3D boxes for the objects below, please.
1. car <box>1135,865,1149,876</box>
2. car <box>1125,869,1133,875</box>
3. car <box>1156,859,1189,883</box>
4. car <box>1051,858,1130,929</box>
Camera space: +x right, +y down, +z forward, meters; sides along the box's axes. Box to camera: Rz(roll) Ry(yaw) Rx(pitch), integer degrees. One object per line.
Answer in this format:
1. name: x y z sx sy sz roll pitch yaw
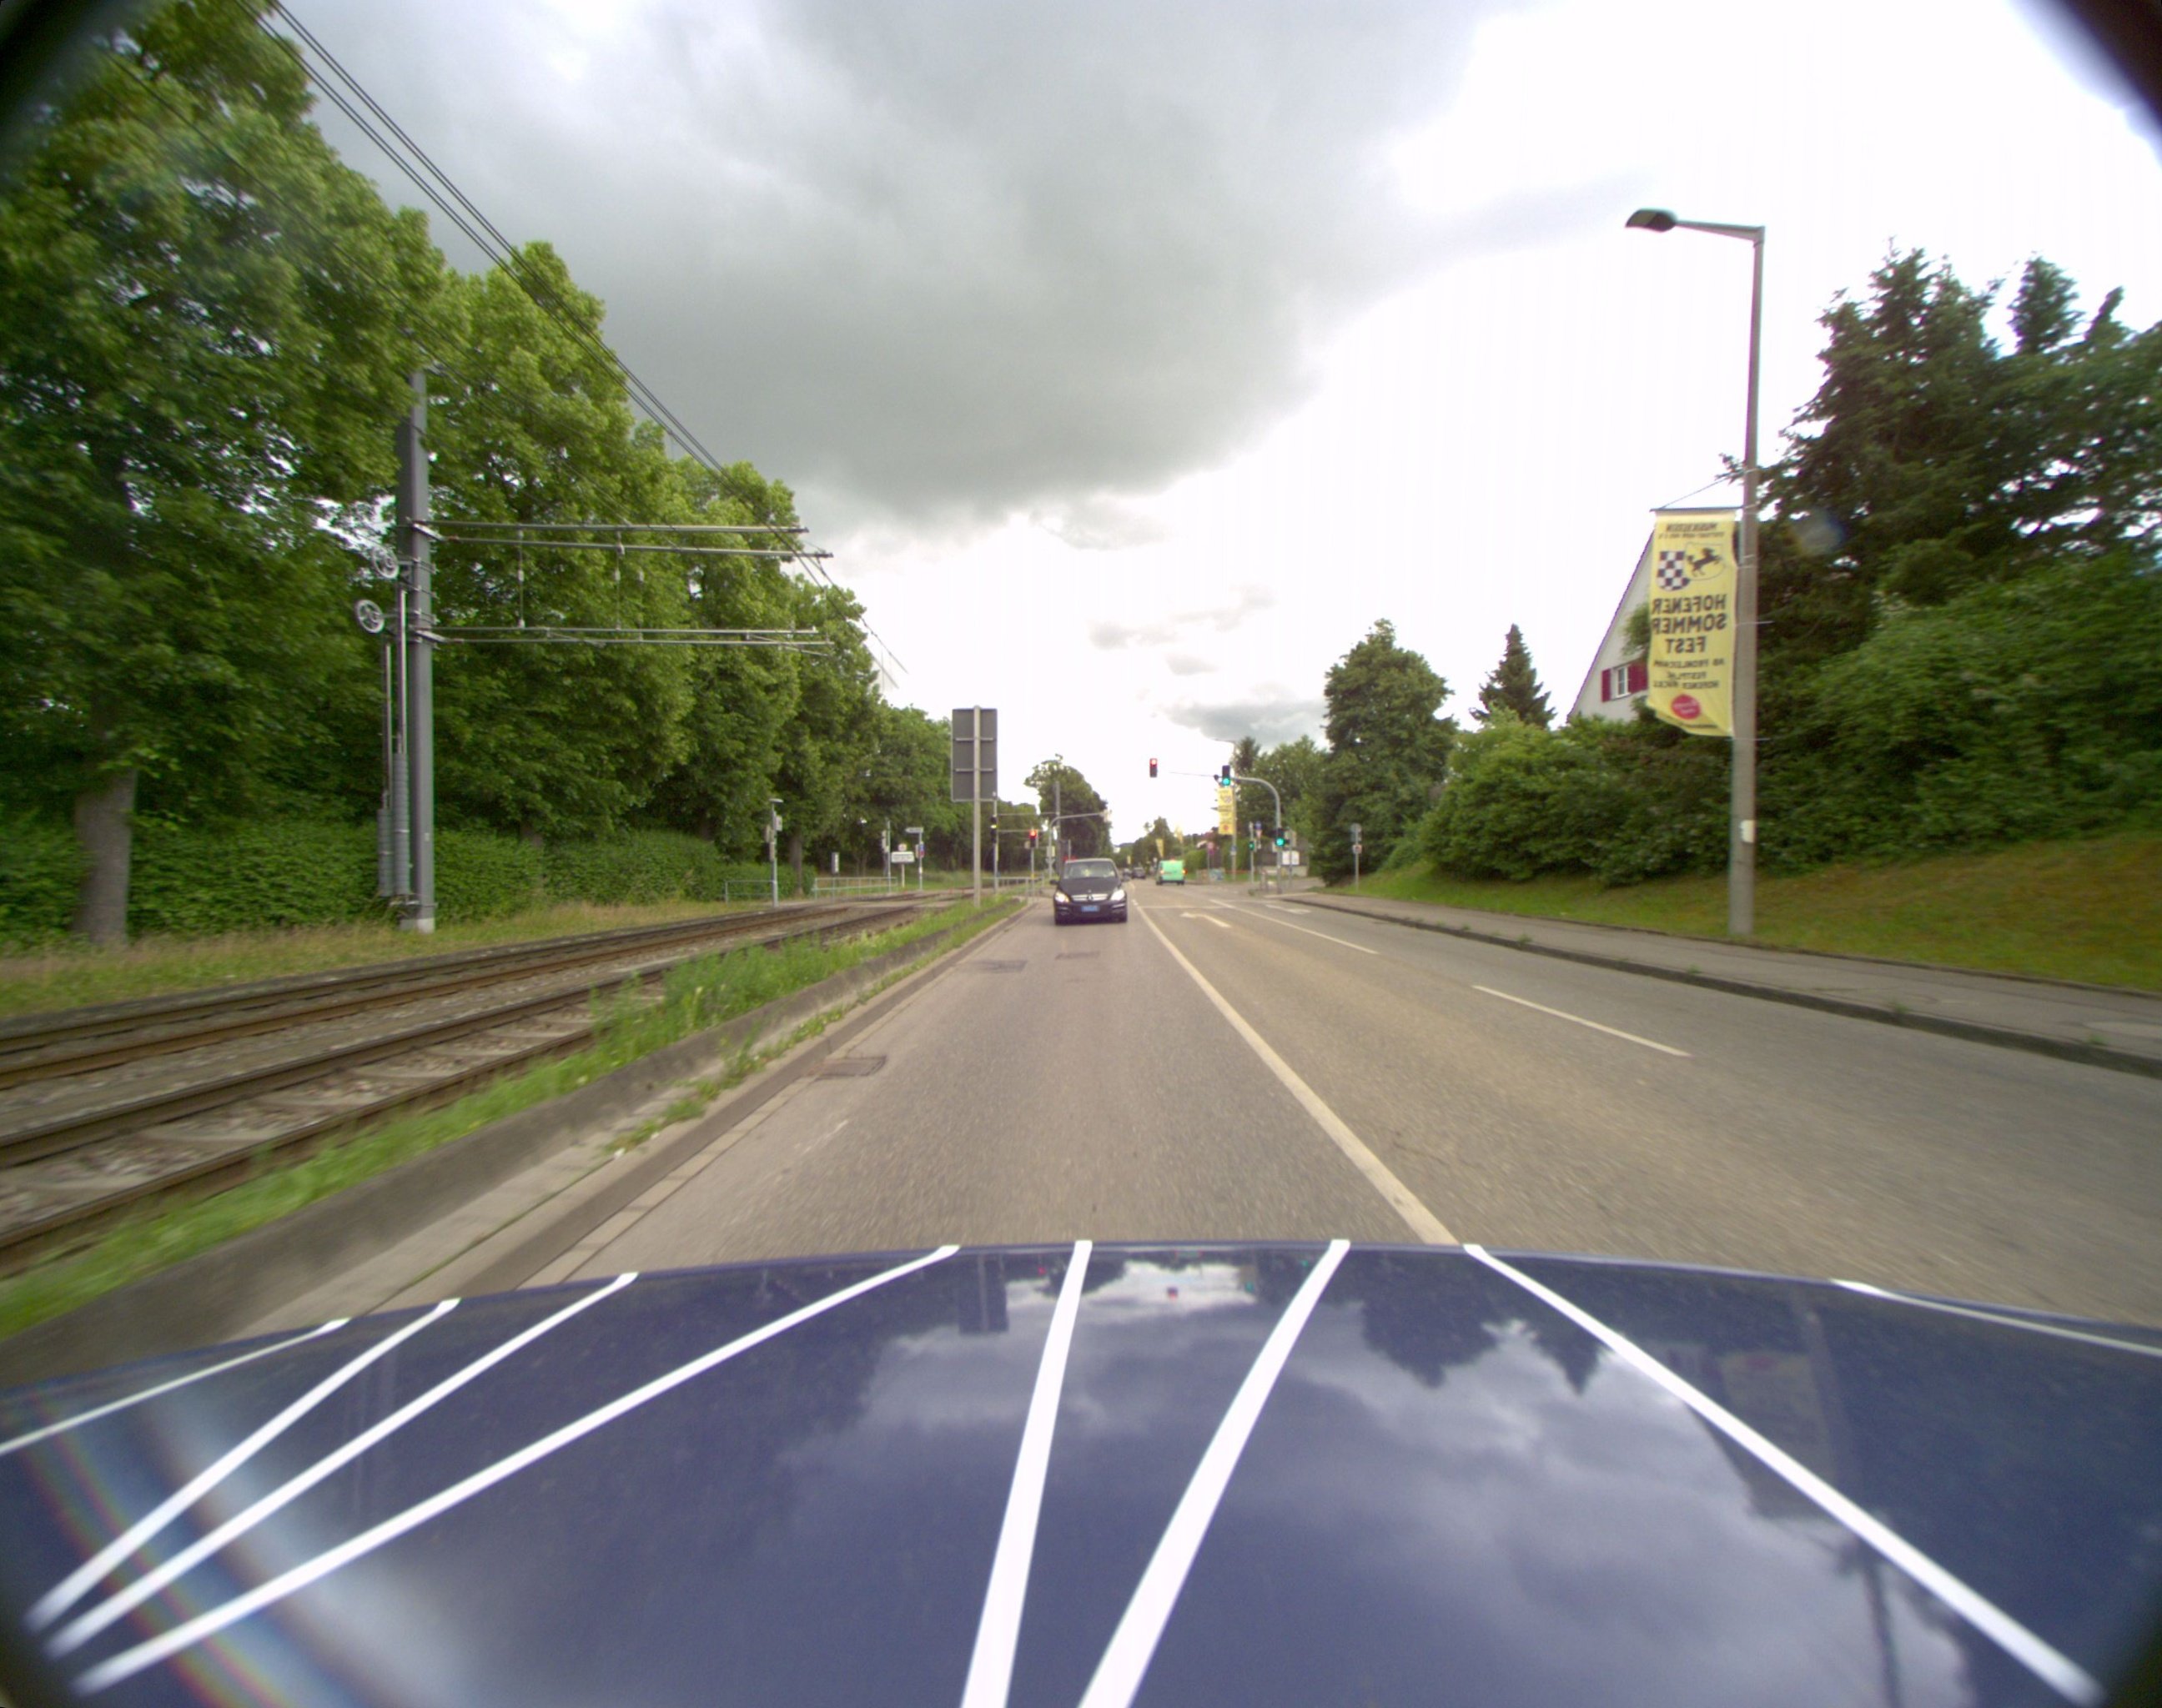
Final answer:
1. car: 8.786 2.396 110.080 1.903 1.569 4.280 -1 -1 2
2. car: 11.975 4.504 191.073 1.903 1.569 4.123 0 -1 2
3. car: 7.020 1.271 58.772 2.063 1.799 4.730 1 0 1
4. car: 0.255 0.933 19.637 1.749 1.558 4.122 -3 0 1
